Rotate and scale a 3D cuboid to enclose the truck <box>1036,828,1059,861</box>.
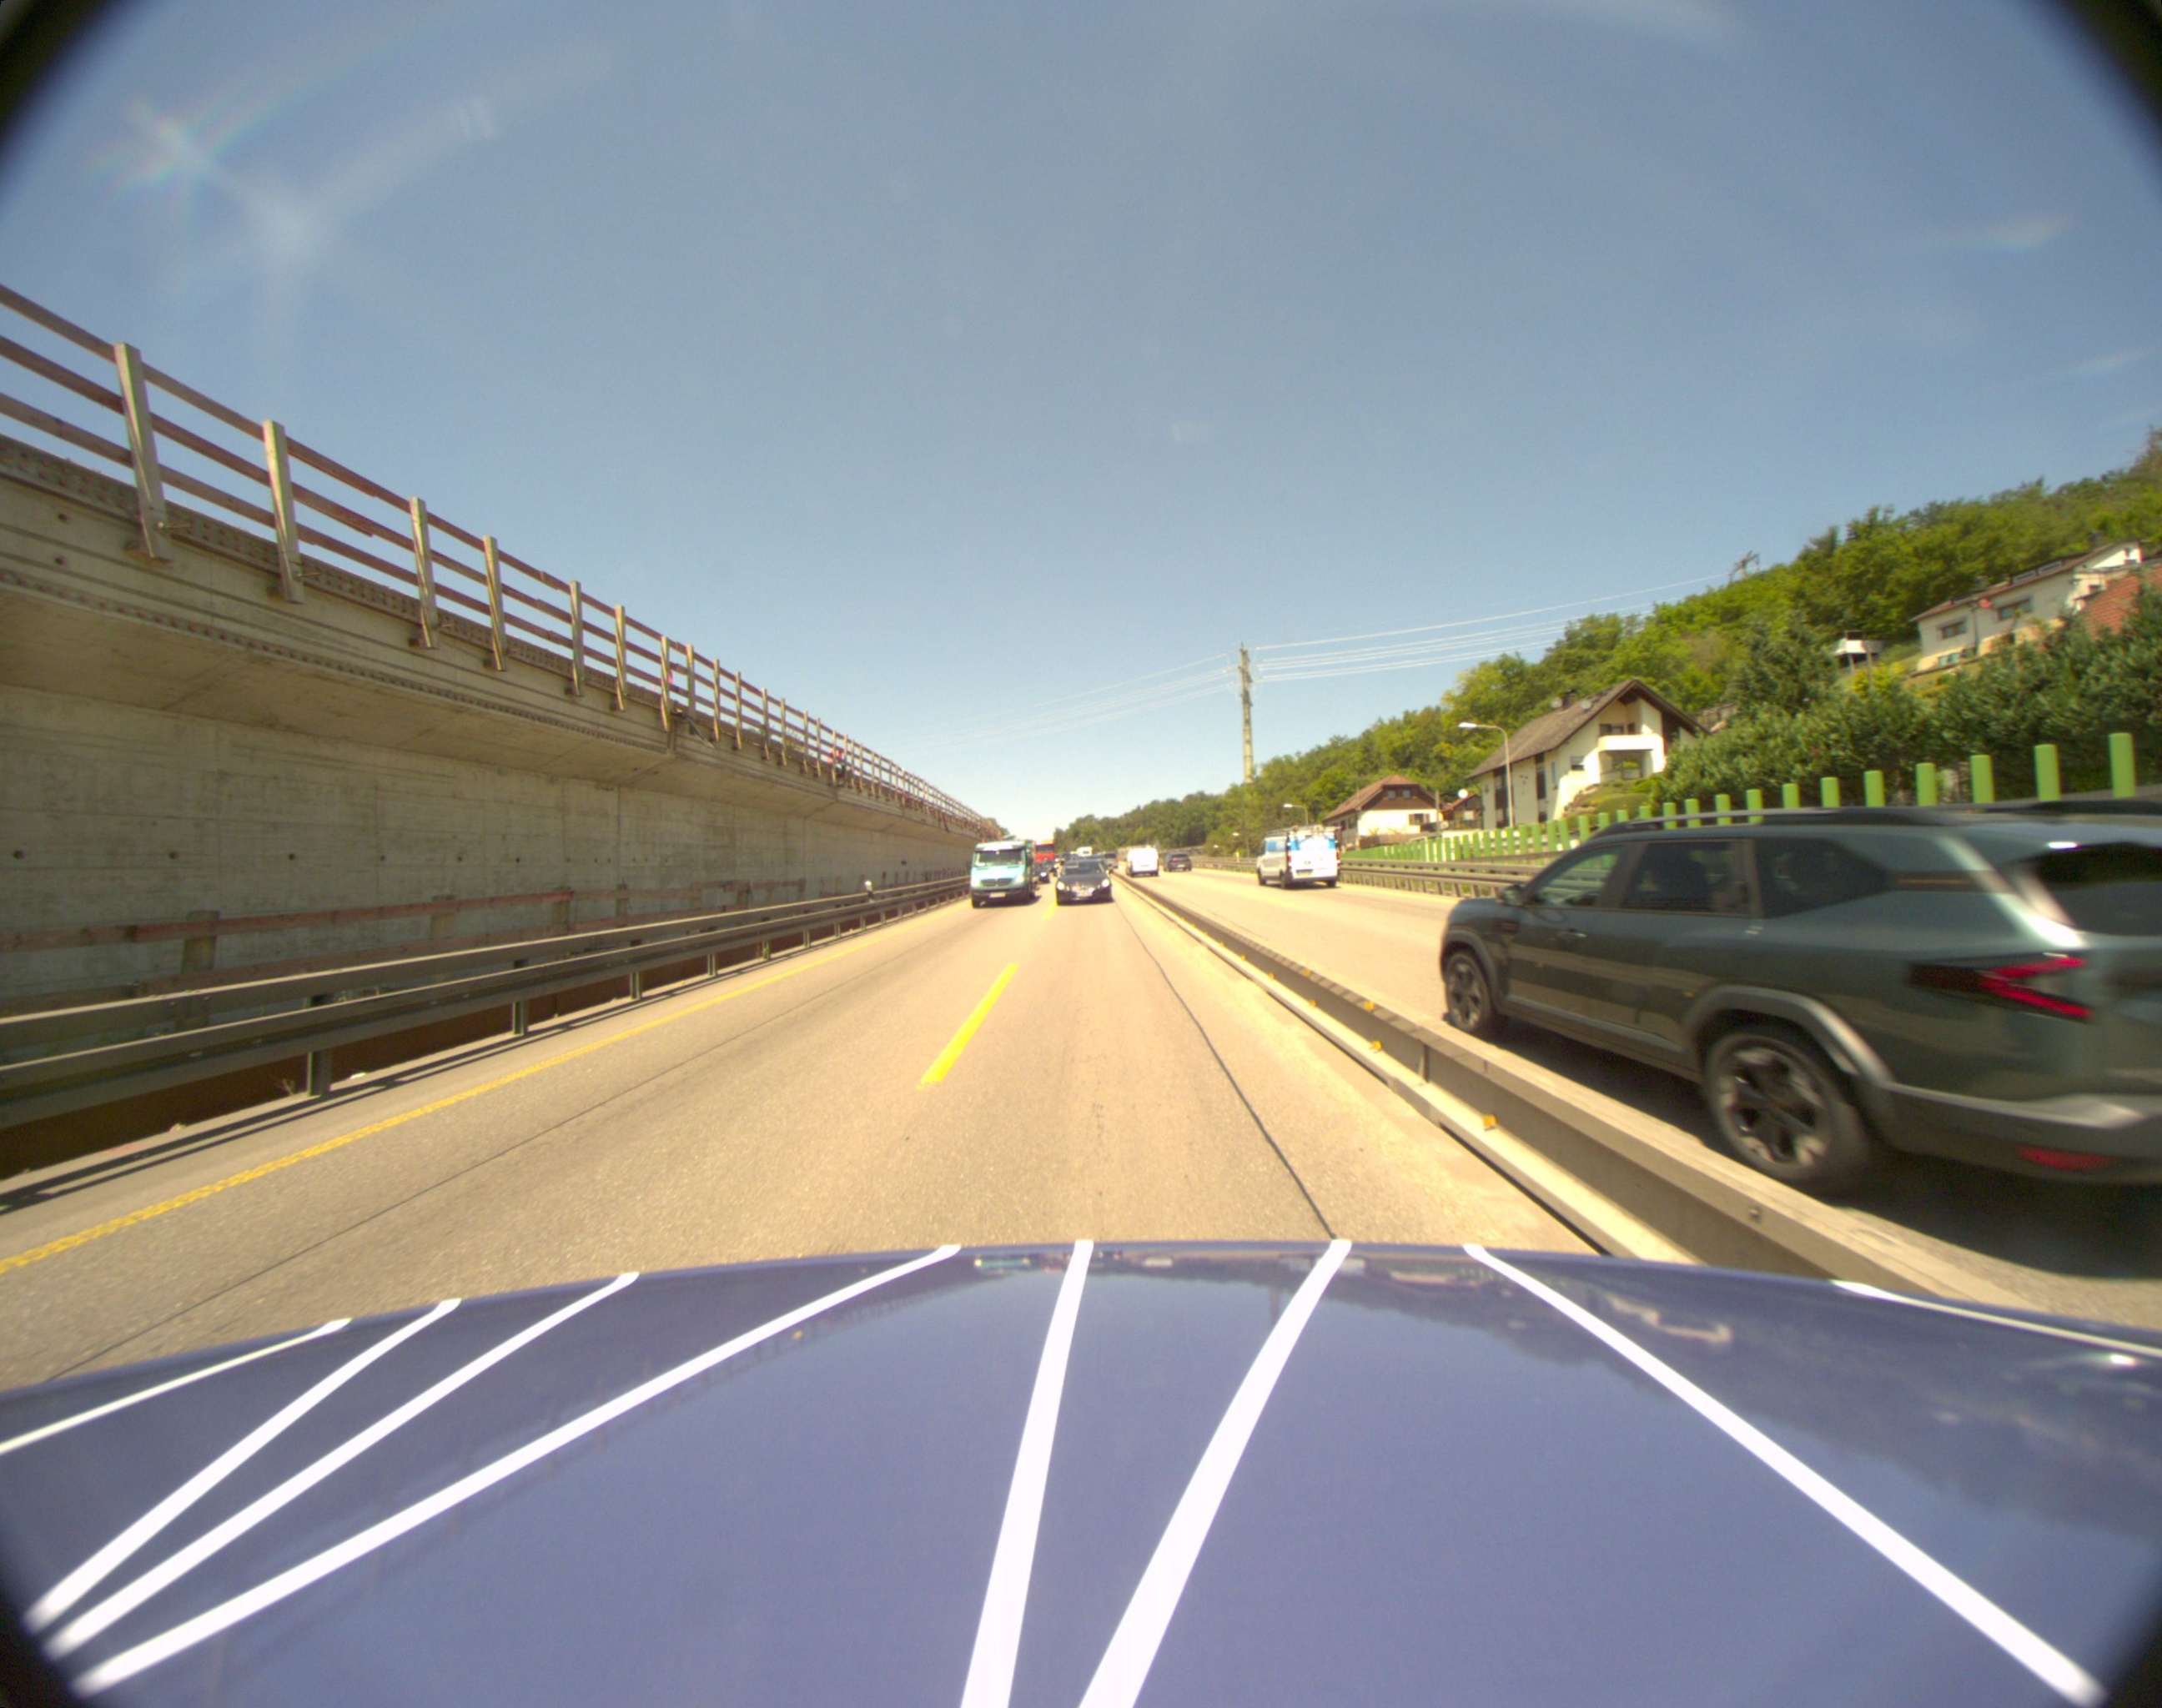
[{"bbox_3d":[-4.405,-1.263,101.806,2.651,3.978,11.194,-4,1,-1],"label":"truck"}]

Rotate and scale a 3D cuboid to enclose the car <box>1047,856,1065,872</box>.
[{"bbox_3d":[-2.650,1.095,82.559,1.674,1.499,3.648,-4,1,1],"label":"car"}]

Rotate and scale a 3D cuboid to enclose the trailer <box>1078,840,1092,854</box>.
[{"bbox_3d":[0.813,-1.413,154.148,2.606,2.573,6.240,-3,1,-1],"label":"trailer"}]

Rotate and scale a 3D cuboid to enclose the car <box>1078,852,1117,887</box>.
[{"bbox_3d":[0.826,0.783,40.956,1.859,1.650,3.999,-4,1,-1],"label":"car"}]

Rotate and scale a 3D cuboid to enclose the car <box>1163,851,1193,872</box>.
[{"bbox_3d":[7.426,0.516,58.279,1.753,1.434,4.052,-3,1,1],"label":"car"}]

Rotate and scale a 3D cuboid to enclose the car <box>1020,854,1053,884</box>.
[{"bbox_3d":[-2.821,0.902,48.441,1.860,1.650,3.999,-4,1,-2],"label":"car"}]

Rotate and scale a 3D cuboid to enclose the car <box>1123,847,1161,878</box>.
[{"bbox_3d":[4.025,0.527,51.190,2.162,1.895,5.325,-2,1,1],"label":"car"}]

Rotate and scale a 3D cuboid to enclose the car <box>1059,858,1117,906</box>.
[{"bbox_3d":[0.160,0.895,26.016,1.793,1.440,4.297,-2,0,-2],"label":"car"}]

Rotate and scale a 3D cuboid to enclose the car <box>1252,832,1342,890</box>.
[{"bbox_3d":[7.968,0.223,28.606,1.830,1.914,5.243,-2,0,0],"label":"car"}]

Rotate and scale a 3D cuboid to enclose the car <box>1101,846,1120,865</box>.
[{"bbox_3d":[3.335,0.183,85.551,1.998,2.002,4.968,-1,1,1],"label":"car"}]

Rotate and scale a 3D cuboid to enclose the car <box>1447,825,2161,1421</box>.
[{"bbox_3d":[3.855,0.715,4.118,1.779,1.624,4.100,-2,0,1],"label":"car"}]

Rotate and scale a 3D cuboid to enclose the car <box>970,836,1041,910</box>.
[{"bbox_3d":[-2.710,0.633,29.019,1.968,2.367,7.209,-3,0,-1],"label":"car"}]
